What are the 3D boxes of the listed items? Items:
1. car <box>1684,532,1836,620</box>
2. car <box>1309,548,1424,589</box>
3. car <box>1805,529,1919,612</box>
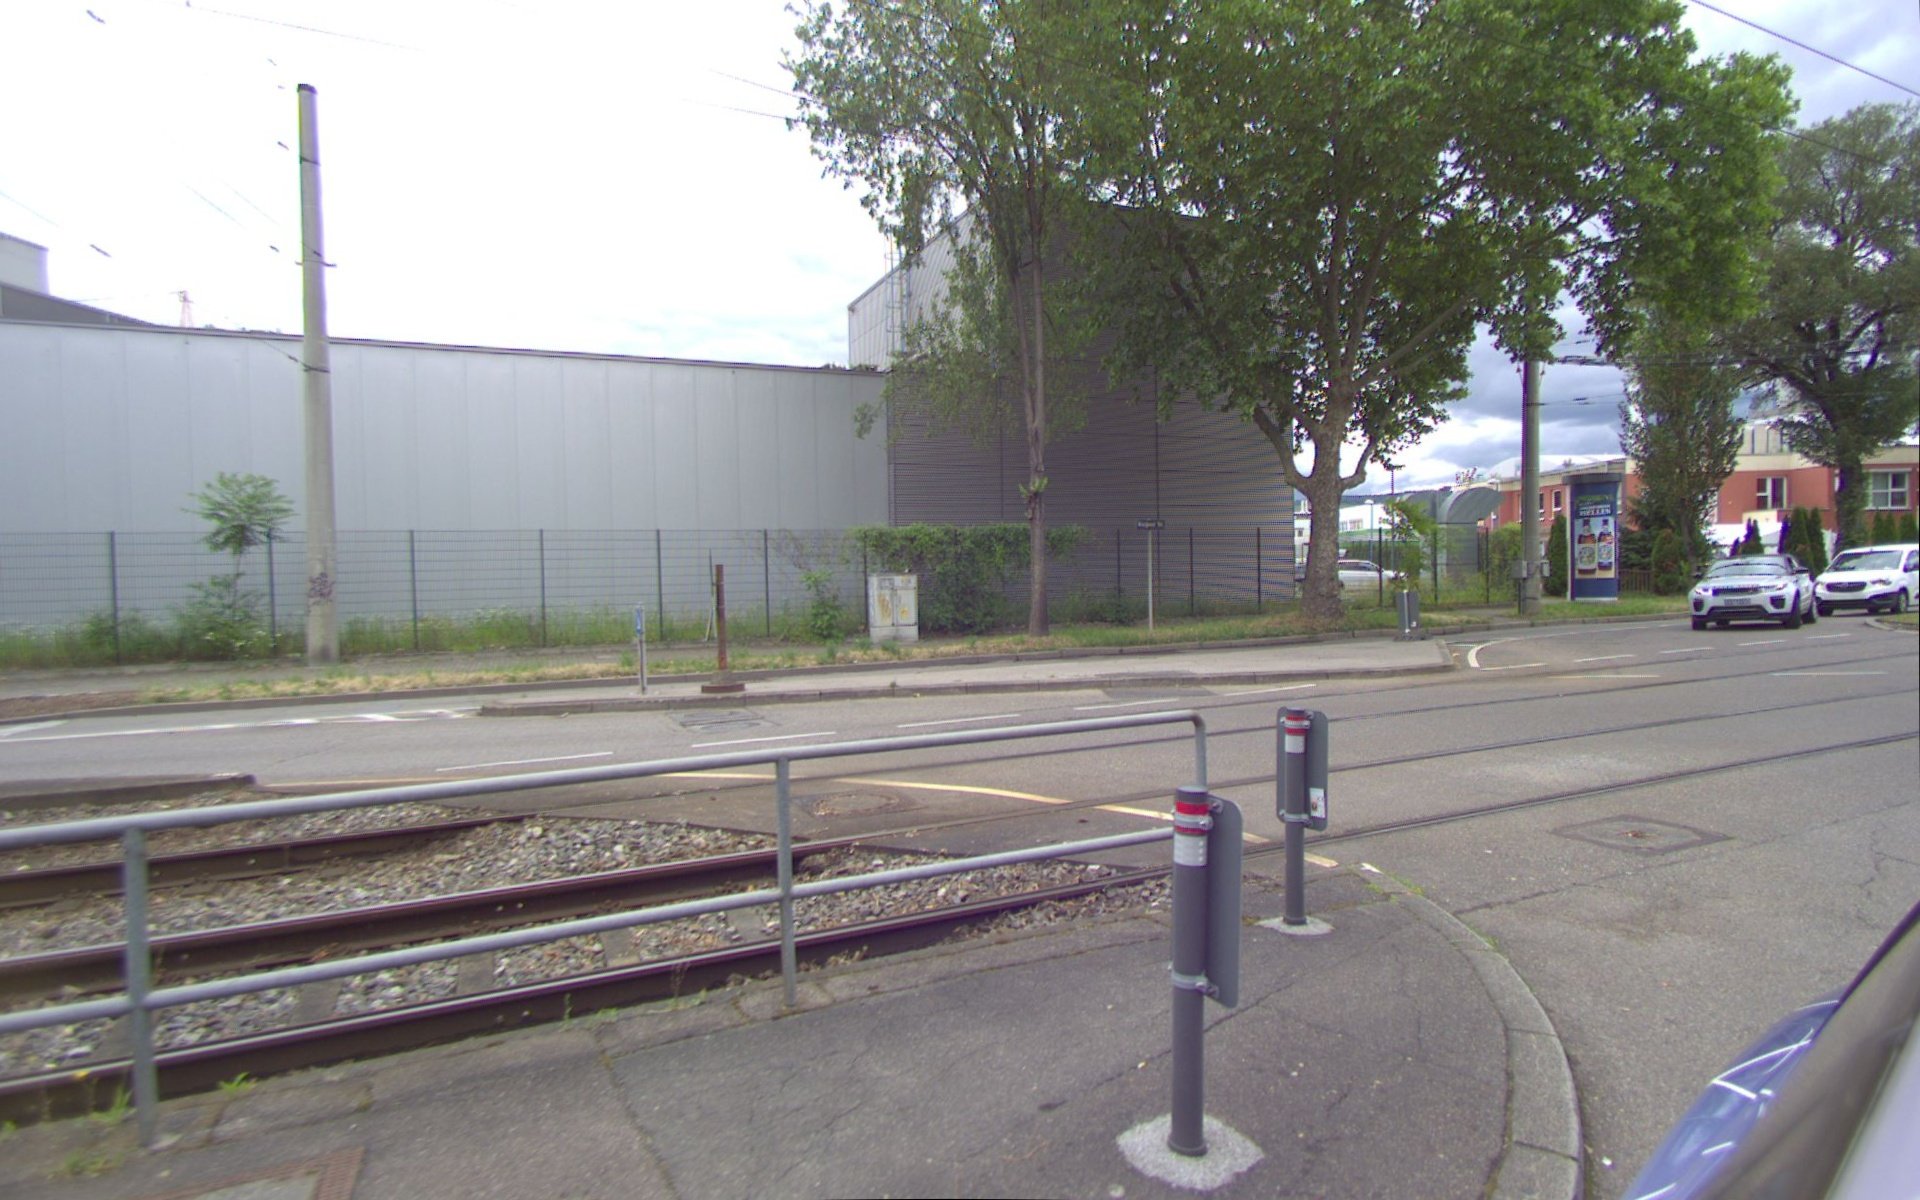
[{"bbox_3d":[17.956,-0.534,22.643,4.198,1.711,1.995,-2,-2,-43],"label":"car"},{"bbox_3d":[18.529,-1.431,46.252,4.419,1.686,1.999,-2,2,3],"label":"car"},{"bbox_3d":[24.841,-0.836,26.879,4.934,2.027,2.002,-3,1,-29],"label":"car"}]
